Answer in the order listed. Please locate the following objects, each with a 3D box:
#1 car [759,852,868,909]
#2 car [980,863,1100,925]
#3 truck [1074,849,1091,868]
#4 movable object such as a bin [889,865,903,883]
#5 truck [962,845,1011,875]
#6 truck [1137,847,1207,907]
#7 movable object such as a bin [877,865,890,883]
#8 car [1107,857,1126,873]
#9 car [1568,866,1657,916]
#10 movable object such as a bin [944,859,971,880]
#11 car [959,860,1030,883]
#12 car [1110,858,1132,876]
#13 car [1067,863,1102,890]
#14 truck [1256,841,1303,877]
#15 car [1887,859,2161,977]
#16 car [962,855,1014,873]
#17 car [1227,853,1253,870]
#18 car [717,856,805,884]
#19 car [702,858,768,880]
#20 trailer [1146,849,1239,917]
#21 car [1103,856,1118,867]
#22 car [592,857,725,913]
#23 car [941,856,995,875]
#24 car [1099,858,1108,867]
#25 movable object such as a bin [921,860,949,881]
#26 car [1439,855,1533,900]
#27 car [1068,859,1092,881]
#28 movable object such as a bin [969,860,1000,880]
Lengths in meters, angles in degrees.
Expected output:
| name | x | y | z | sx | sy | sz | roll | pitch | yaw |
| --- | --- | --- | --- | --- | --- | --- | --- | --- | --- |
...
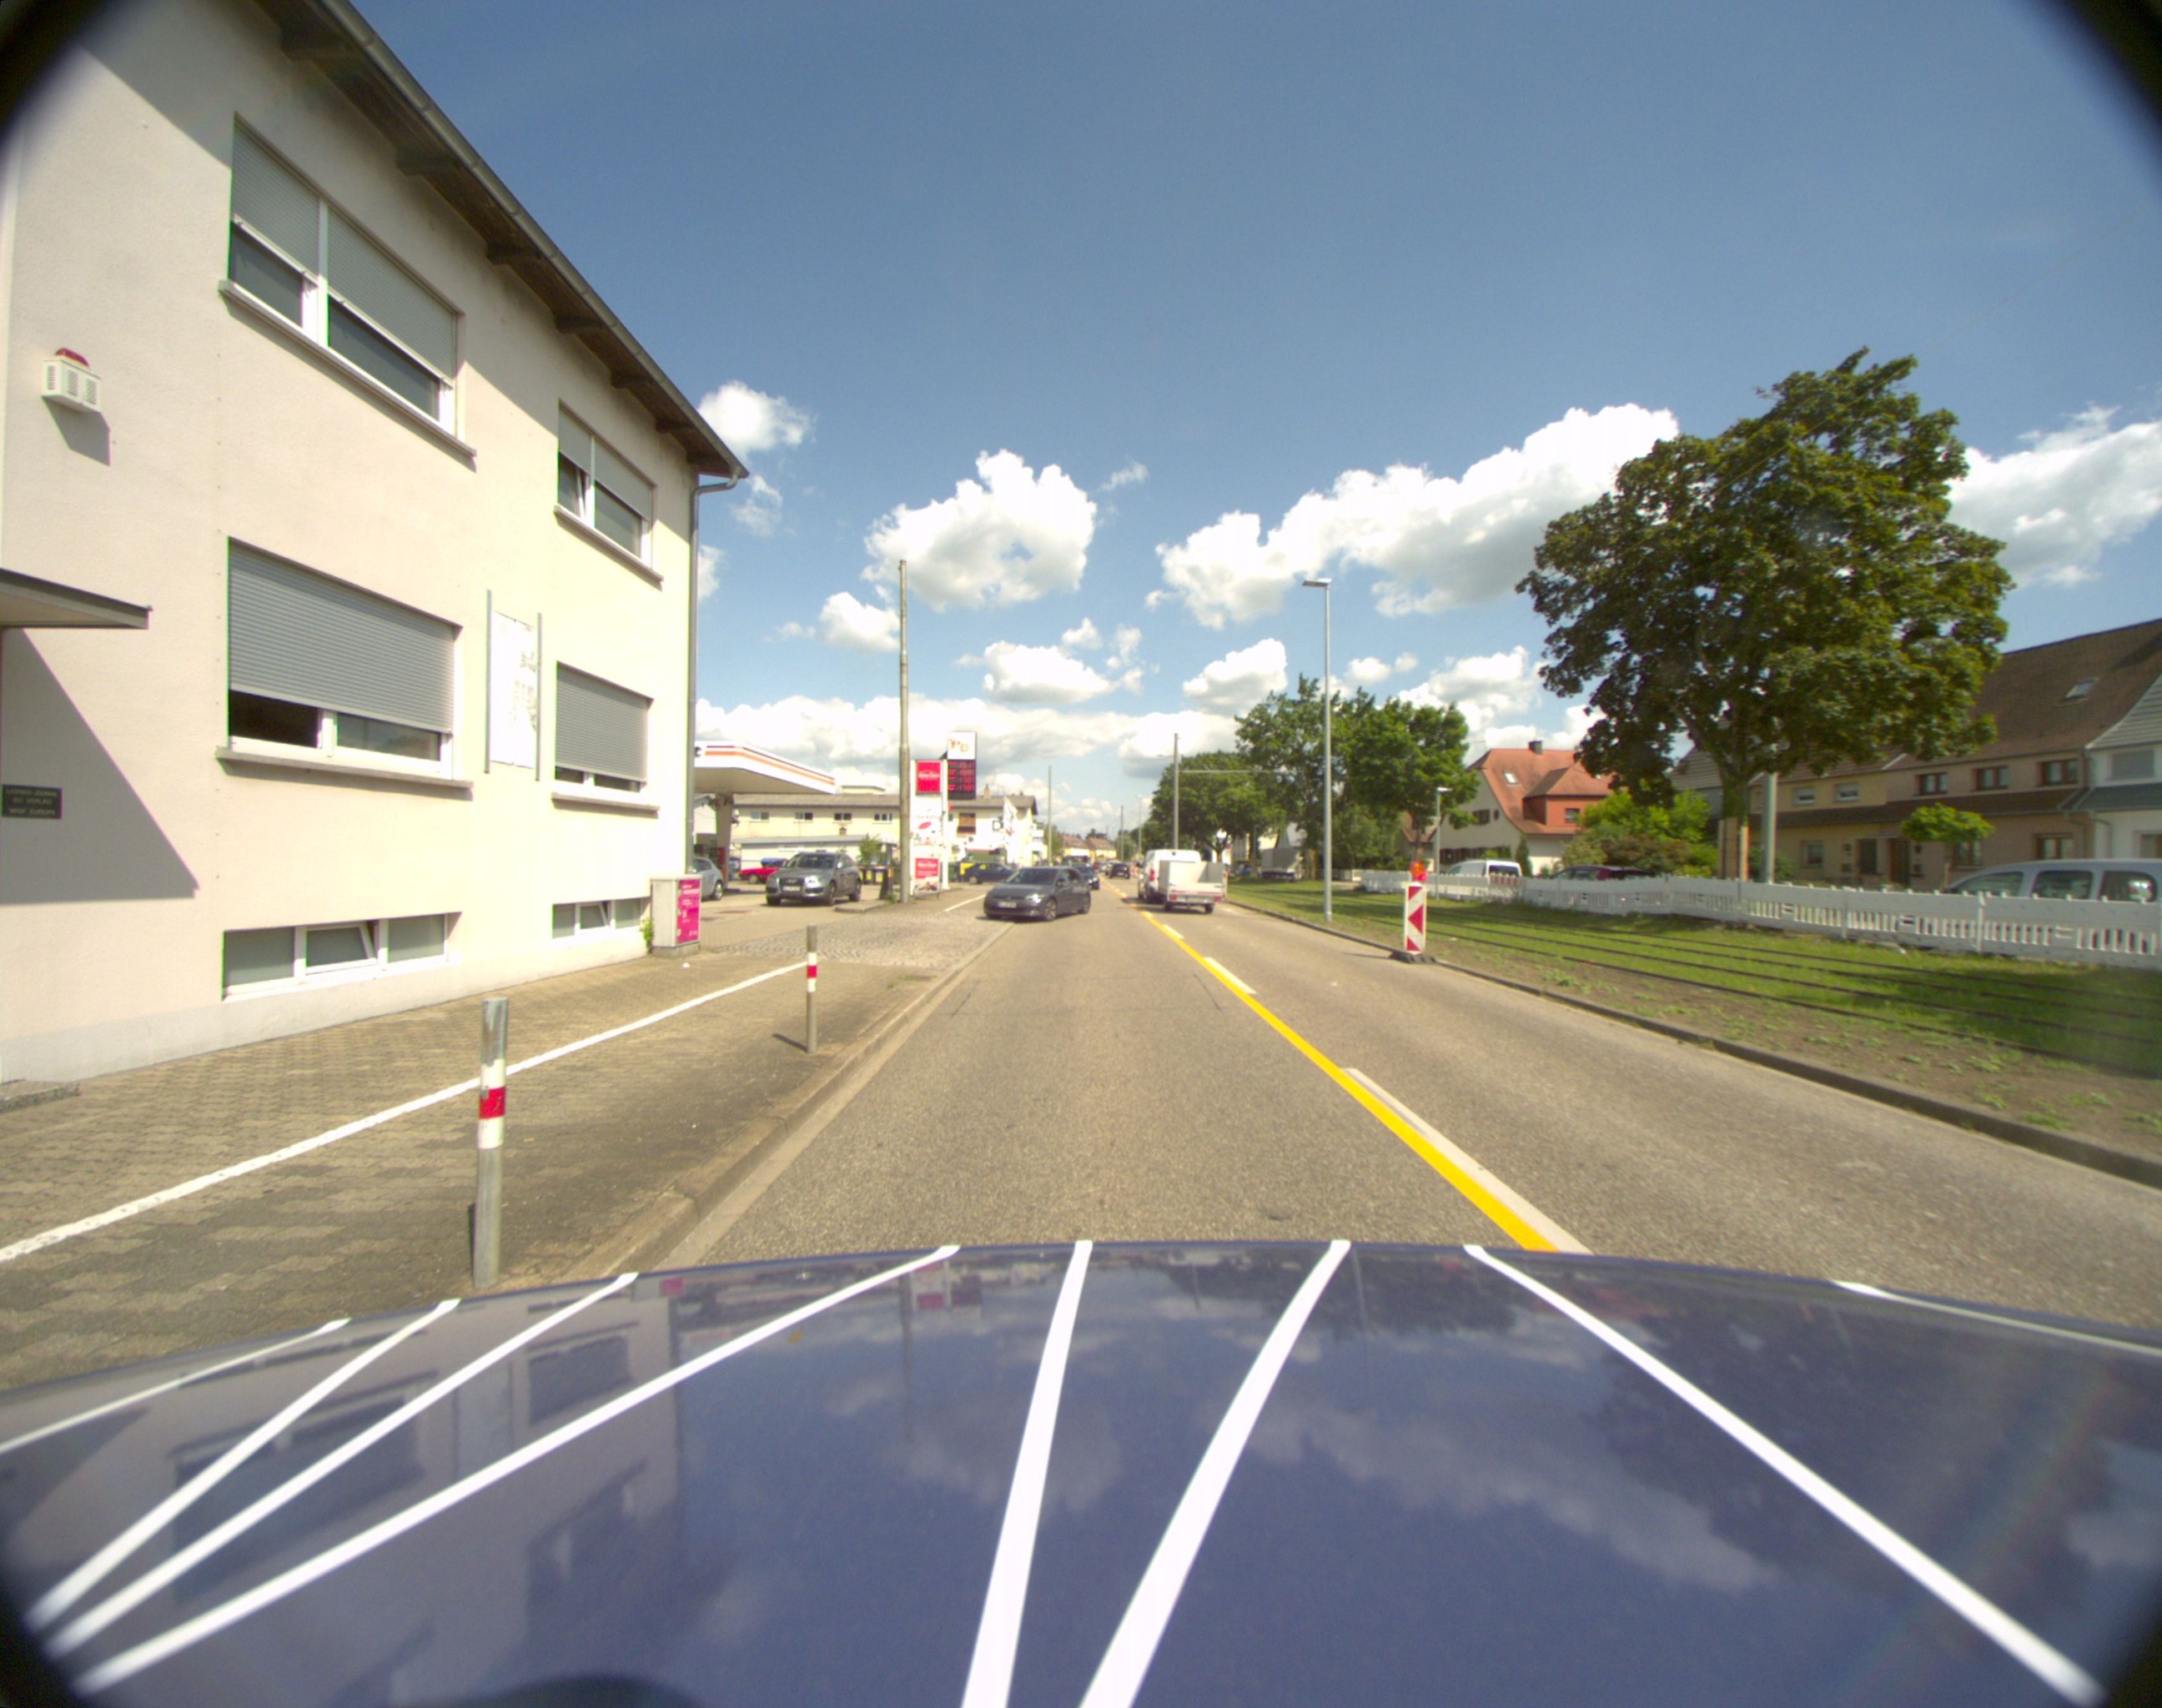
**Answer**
| name | x | y | z | sx | sy | sz | roll | pitch | yaw |
| --- | --- | --- | --- | --- | --- | --- | --- | --- | --- |
| car | -8.297 | 0.757 | 24.045 | 1.951 | 1.615 | 4.615 | 1 | 0 | -2 |
| car | -0.995 | 1.020 | 21.102 | 1.740 | 1.410 | 4.387 | -1 | 1 | 19 |
| truck | 0.269 | 0.722 | 121.012 | 2.632 | 2.871 | 7.923 | -1 | 1 | 1 |
| movable object such as a bin | -10.813 | 1.156 | 44.395 | 0.582 | 1.004 | 0.706 | -2 | 1 | -1 |
| truck | -8.731 | 0.509 | 70.541 | 4.181 | 2.645 | 2.108 | -1 | 1 | 1 |
| truck | 3.218 | 0.736 | 27.767 | 1.824 | 1.898 | 5.115 | 2 | 1 | -1 |
| movable object such as a bin | -11.536 | 1.176 | 44.383 | 0.582 | 1.004 | 0.706 | -2 | 1 | -1 |
| car | 3.792 | 1.188 | 82.430 | 1.829 | 1.656 | 4.461 | 1 | 1 | 0 |
| car | 16.059 | 1.076 | 23.047 | 1.075 | 1.340 | 2.449 | 1 | 1 | 4 |
| movable object such as a bin | -8.599 | 1.079 | 53.028 | 1.536 | 1.402 | 1.765 | -2 | 1 | -1 |
| car | -5.319 | 1.075 | 47.008 | 4.061 | 1.400 | 1.648 | 0 | 1 | 6 |
| car | 3.555 | 1.151 | 67.836 | 1.697 | 1.404 | 3.859 | 2 | 1 | 0 |
| car | 0.208 | 1.163 | 40.246 | 1.732 | 1.259 | 3.999 | -2 | 1 | 0 |
| truck | 16.547 | 0.399 | 63.623 | 2.371 | 2.789 | 5.950 | -2 | 1 | 0 |
| car | 16.336 | 0.944 | 12.658 | 1.626 | 1.642 | 3.899 | 1 | 1 | 0 |
| car | -8.300 | 0.866 | 67.771 | 4.257 | 1.499 | 1.828 | -1 | 1 | 8 |
| car | 15.491 | 0.728 | 74.319 | 1.672 | 1.504 | 3.930 | -2 | 1 | 0 |
| car | -17.777 | 0.870 | 42.340 | 4.144 | 1.416 | 1.771 | 1 | 1 | 1 |
| car | -20.770 | 0.892 | 45.701 | 3.309 | 1.218 | 1.487 | 1 | 1 | 1 |
| trailer | 3.346 | 0.788 | 23.913 | 2.067 | 1.825 | 5.484 | 2 | 1 | 0 |
| car | 4.019 | 1.097 | 105.830 | 1.826 | 1.436 | 4.483 | 2 | 0 | -1 |
| car | -12.598 | 0.867 | 23.008 | 1.696 | 1.462 | 4.422 | 0 | 1 | -2 |
| car | -8.998 | 0.904 | 60.385 | 3.902 | 1.454 | 1.628 | 0 | 1 | 17 |
| car | 4.219 | 1.593 | 141.122 | 1.582 | 1.461 | 3.720 | 2 | 1 | 0 |
| movable object such as a bin | -10.169 | 1.125 | 53.004 | 1.536 | 1.402 | 1.765 | -2 | 1 | -1 |
| car | 16.351 | 0.904 | 30.930 | 1.657 | 1.616 | 4.000 | 1 | 1 | 0 |
| car | -0.059 | 1.160 | 55.680 | 1.594 | 1.418 | 3.707 | -2 | 1 | 0 |
| movable object such as a bin | -6.813 | 1.125 | 53.638 | 1.968 | 1.339 | 1.708 | -2 | 1 | -1 |
